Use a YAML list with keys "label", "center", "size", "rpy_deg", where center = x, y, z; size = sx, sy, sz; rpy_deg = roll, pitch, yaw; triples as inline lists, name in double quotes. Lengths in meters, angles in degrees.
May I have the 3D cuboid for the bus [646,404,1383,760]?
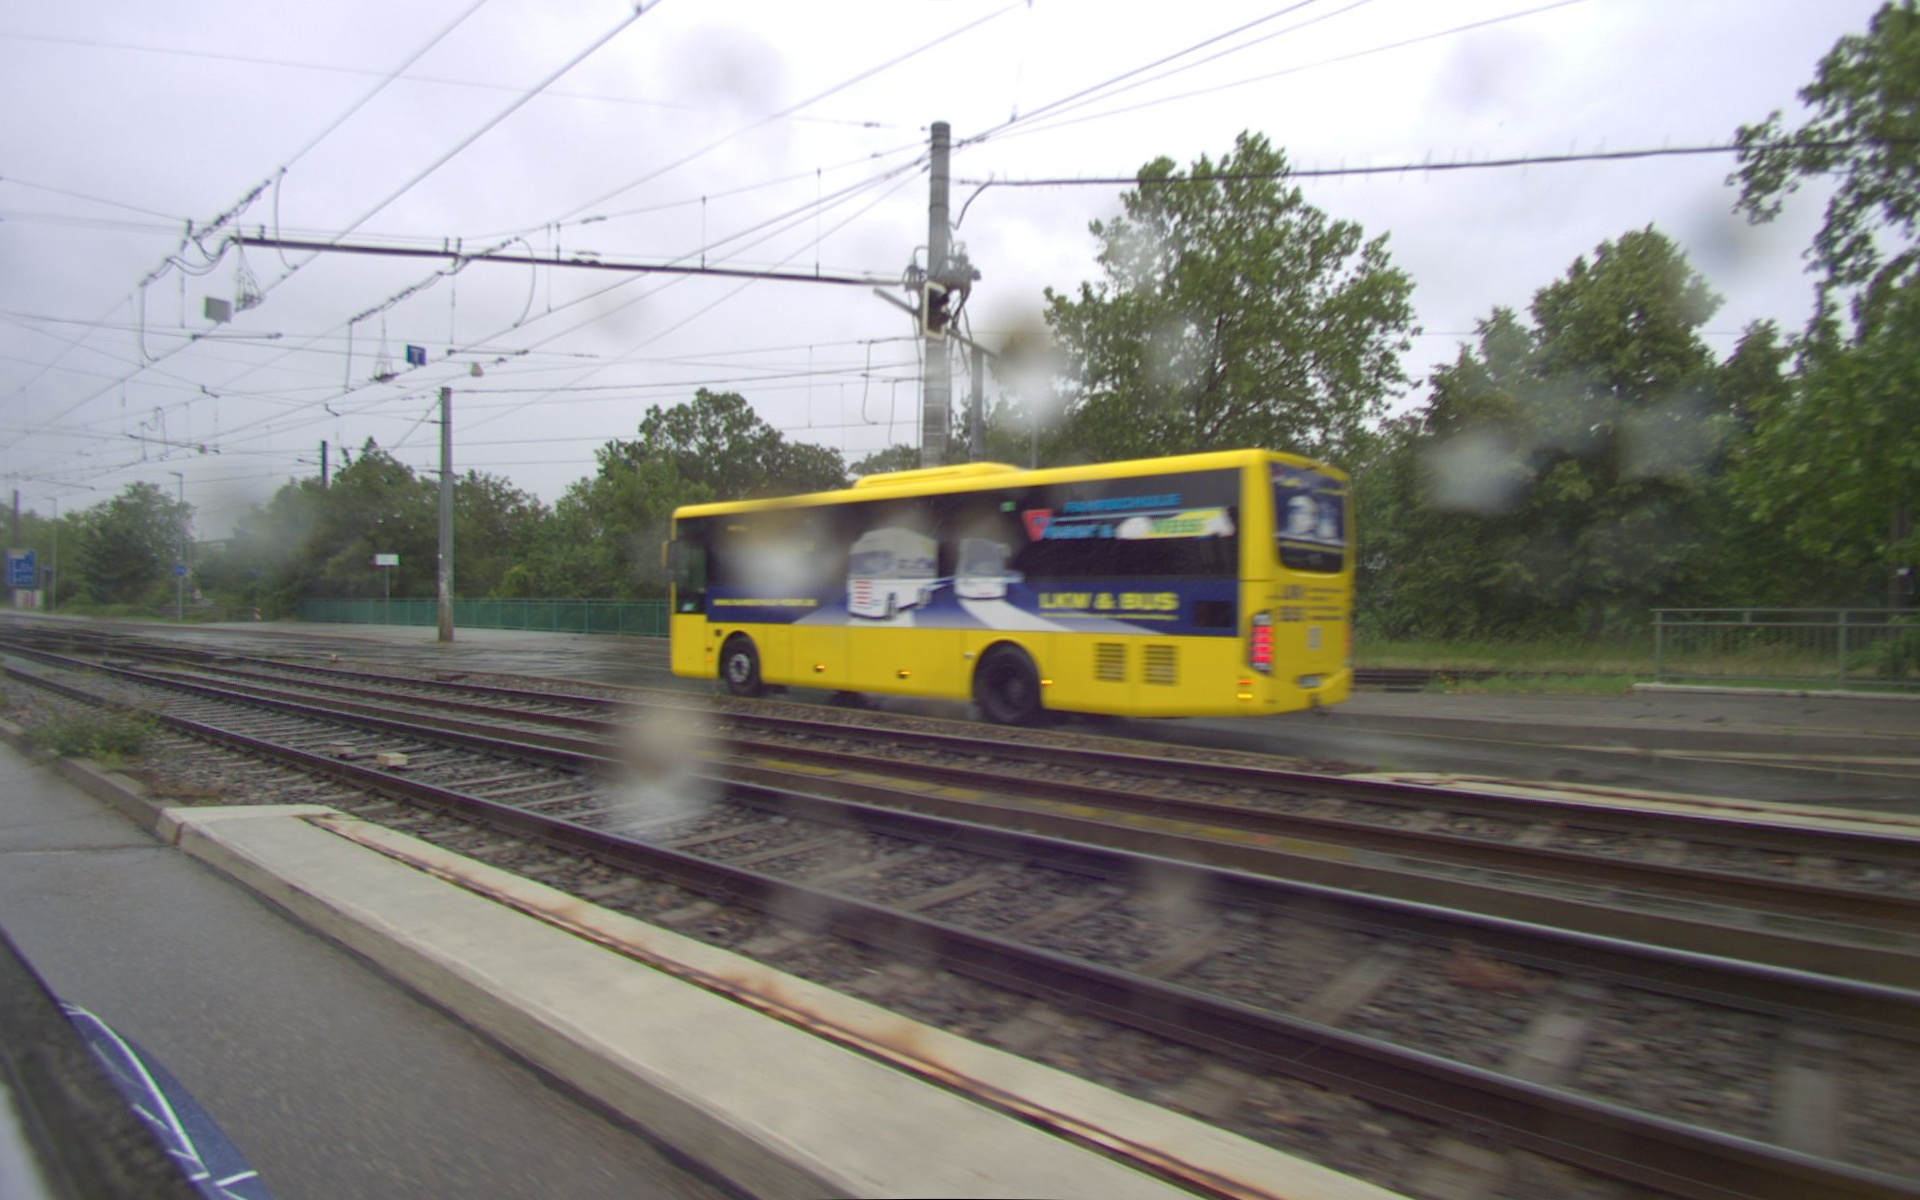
- label: "bus"
  center: [-0.182, 0.016, 14.191]
  size: [10.986, 3.367, 2.680]
  rpy_deg: [-2, -3, 41]
